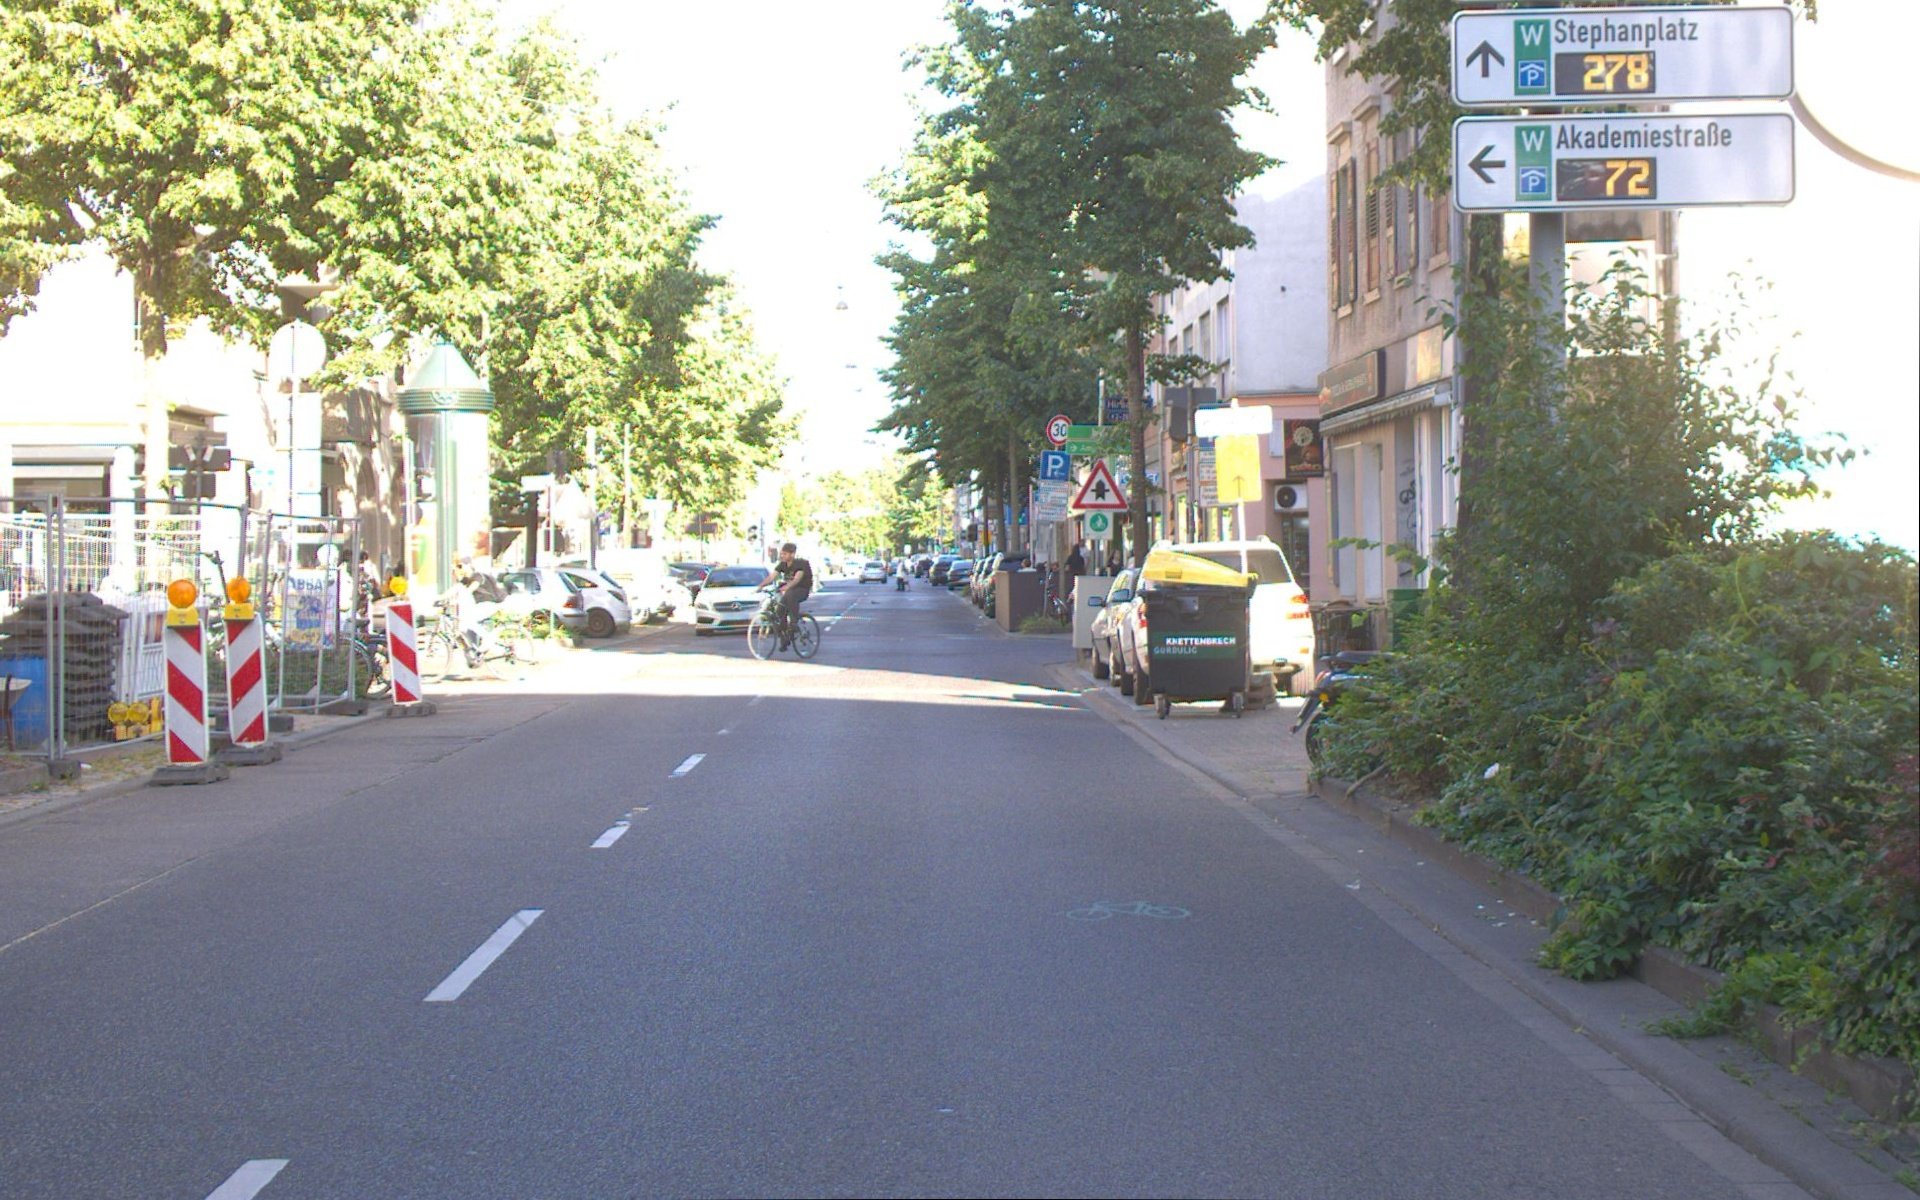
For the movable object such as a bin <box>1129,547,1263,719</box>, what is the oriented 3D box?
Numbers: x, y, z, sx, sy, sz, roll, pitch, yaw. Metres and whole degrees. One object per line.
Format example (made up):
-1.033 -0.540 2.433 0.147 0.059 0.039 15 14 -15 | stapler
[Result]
2.248 0.297 32.531 1.143 1.556 1.459 -1 1 7 | movable object such as a bin

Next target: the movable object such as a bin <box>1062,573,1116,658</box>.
1.892 0.227 50.455 0.705 1.218 0.681 -1 1 -3 | movable object such as a bin

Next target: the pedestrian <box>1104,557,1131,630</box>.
3.547 -0.148 77.569 0.547 1.644 0.664 -1 1 0 | pedestrian

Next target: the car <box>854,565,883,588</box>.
-5.916 -1.553 222.315 1.792 1.406 4.000 -1 1 -1 | car

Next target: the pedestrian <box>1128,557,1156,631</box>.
4.123 -0.137 77.917 0.547 1.644 0.664 -1 1 -1 | pedestrian

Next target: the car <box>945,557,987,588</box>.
0.277 -1.352 169.695 1.993 1.503 4.000 0 0 -1 | car

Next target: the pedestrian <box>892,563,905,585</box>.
-2.940 -1.240 164.735 0.545 1.023 0.546 -1 1 -3 | pedestrian

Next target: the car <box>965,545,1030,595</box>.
1.236 -1.014 114.335 1.993 1.604 4.000 -1 1 -1 | car

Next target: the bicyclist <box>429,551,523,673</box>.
-6.312 0.153 44.838 1.037 1.555 0.769 -1 1 -21 | bicyclist

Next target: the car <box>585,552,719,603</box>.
-9.495 -0.698 106.111 3.986 1.494 2.000 -1 1 -2 | car

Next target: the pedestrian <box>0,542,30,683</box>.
-11.438 0.150 40.623 0.610 1.647 0.813 -1 1 2 | pedestrian

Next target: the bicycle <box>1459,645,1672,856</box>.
3.168 0.762 17.891 0.436 0.985 1.669 -1 1 34 | bicycle

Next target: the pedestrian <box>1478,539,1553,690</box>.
5.749 0.142 35.600 0.610 1.535 0.699 -2 1 -1 | pedestrian

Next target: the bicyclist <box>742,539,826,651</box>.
-2.700 -0.078 52.735 0.720 1.687 1.155 0 1 33 | bicyclist

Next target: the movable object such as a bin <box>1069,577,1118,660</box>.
1.930 0.263 49.618 0.621 1.176 0.712 -1 1 -3 | movable object such as a bin

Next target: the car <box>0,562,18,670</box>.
-16.318 0.294 51.539 3.986 1.605 2.000 -2 1 -22 | car

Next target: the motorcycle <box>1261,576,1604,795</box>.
3.039 0.531 22.173 1.977 1.325 0.912 -1 1 -13 | motorcycle

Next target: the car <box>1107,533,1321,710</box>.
2.650 0.187 36.821 1.822 1.673 4.601 -3 1 -1 | car

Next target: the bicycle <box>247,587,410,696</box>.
-7.370 0.483 40.167 1.854 1.248 0.600 0 1 -8 | bicycle

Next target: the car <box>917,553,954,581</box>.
-1.363 -1.786 189.253 1.993 1.503 4.000 0 0 -1 | car

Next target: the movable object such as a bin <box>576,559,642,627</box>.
-7.876 -0.165 77.123 1.334 1.473 1.480 -1 1 -1 | movable object such as a bin

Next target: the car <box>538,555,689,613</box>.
-9.521 -0.425 94.665 3.986 1.495 2.000 -1 0 -2 | car

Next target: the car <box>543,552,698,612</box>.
-9.077 -0.490 92.164 3.986 1.494 2.000 -1 1 -2 | car

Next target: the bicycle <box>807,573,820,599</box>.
-6.726 -0.628 157.544 0.560 1.176 1.628 0 0 -1 | bicycle

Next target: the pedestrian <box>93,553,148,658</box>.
-13.327 0.080 54.588 0.771 1.637 0.690 -1 1 -10 | pedestrian

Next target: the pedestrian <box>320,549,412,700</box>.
-6.775 0.267 39.191 0.792 1.702 0.767 0 1 -34 | pedestrian

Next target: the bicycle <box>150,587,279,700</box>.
-8.560 0.485 39.425 0.598 1.248 1.792 0 1 -43 | bicycle

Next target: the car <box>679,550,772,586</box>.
-10.298 -1.402 151.042 3.986 1.494 2.000 -1 1 -2 | car

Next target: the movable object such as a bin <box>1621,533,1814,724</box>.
6.287 0.225 28.600 1.270 1.525 1.177 -1 1 -2 | movable object such as a bin

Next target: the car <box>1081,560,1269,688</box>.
2.574 0.252 42.142 1.822 1.386 4.301 -3 1 -2 | car

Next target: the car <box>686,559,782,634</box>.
-4.716 -0.095 72.285 1.802 1.430 4.410 -3 1 -2 | car

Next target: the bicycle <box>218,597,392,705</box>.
-7.196 0.558 37.841 1.854 1.166 0.600 0 1 -8 | bicycle

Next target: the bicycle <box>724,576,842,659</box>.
-2.700 0.257 52.736 0.720 1.215 2.032 0 1 33 | bicycle

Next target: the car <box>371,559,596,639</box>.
-8.924 -0.026 64.648 3.986 1.385 2.000 -1 1 -2 | car

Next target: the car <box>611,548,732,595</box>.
-9.781 -0.978 116.878 3.986 1.494 2.000 -1 1 -2 | car

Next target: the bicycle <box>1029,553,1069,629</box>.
1.777 -0.190 68.662 0.560 1.436 1.628 -7 1 -1 | bicycle

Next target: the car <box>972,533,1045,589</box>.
1.424 -1.173 101.693 1.993 1.604 4.000 -1 1 -1 | car

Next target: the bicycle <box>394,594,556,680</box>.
-6.327 0.477 44.844 1.949 1.055 0.769 -1 1 -22 | bicycle

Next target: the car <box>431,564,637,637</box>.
-8.691 -0.009 70.440 3.986 1.385 2.000 -1 1 -2 | car

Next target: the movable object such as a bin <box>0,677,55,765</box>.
-7.408 0.931 26.431 0.627 0.614 1.077 -2 1 -1 | movable object such as a bin

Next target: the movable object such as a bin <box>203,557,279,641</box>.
-13.006 -0.033 62.180 1.140 1.480 1.236 -1 1 -3 | movable object such as a bin

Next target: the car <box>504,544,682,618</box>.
-8.877 -0.469 83.347 3.987 1.688 2.000 -1 1 4 | car

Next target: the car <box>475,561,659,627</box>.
-9.179 -0.148 80.548 3.987 1.452 1.868 -1 1 4 | car

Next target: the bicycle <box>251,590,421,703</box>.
-6.978 0.516 38.516 1.854 1.248 0.600 0 1 -8 | bicycle

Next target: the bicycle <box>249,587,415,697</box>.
-7.207 0.479 39.528 1.854 1.248 0.600 0 1 -8 | bicycle

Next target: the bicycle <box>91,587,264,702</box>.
-8.719 0.489 38.323 1.788 1.248 0.600 0 1 11 | bicycle

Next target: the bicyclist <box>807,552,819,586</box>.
-6.739 -1.406 157.558 0.560 1.542 0.728 0 0 -1 | bicyclist
